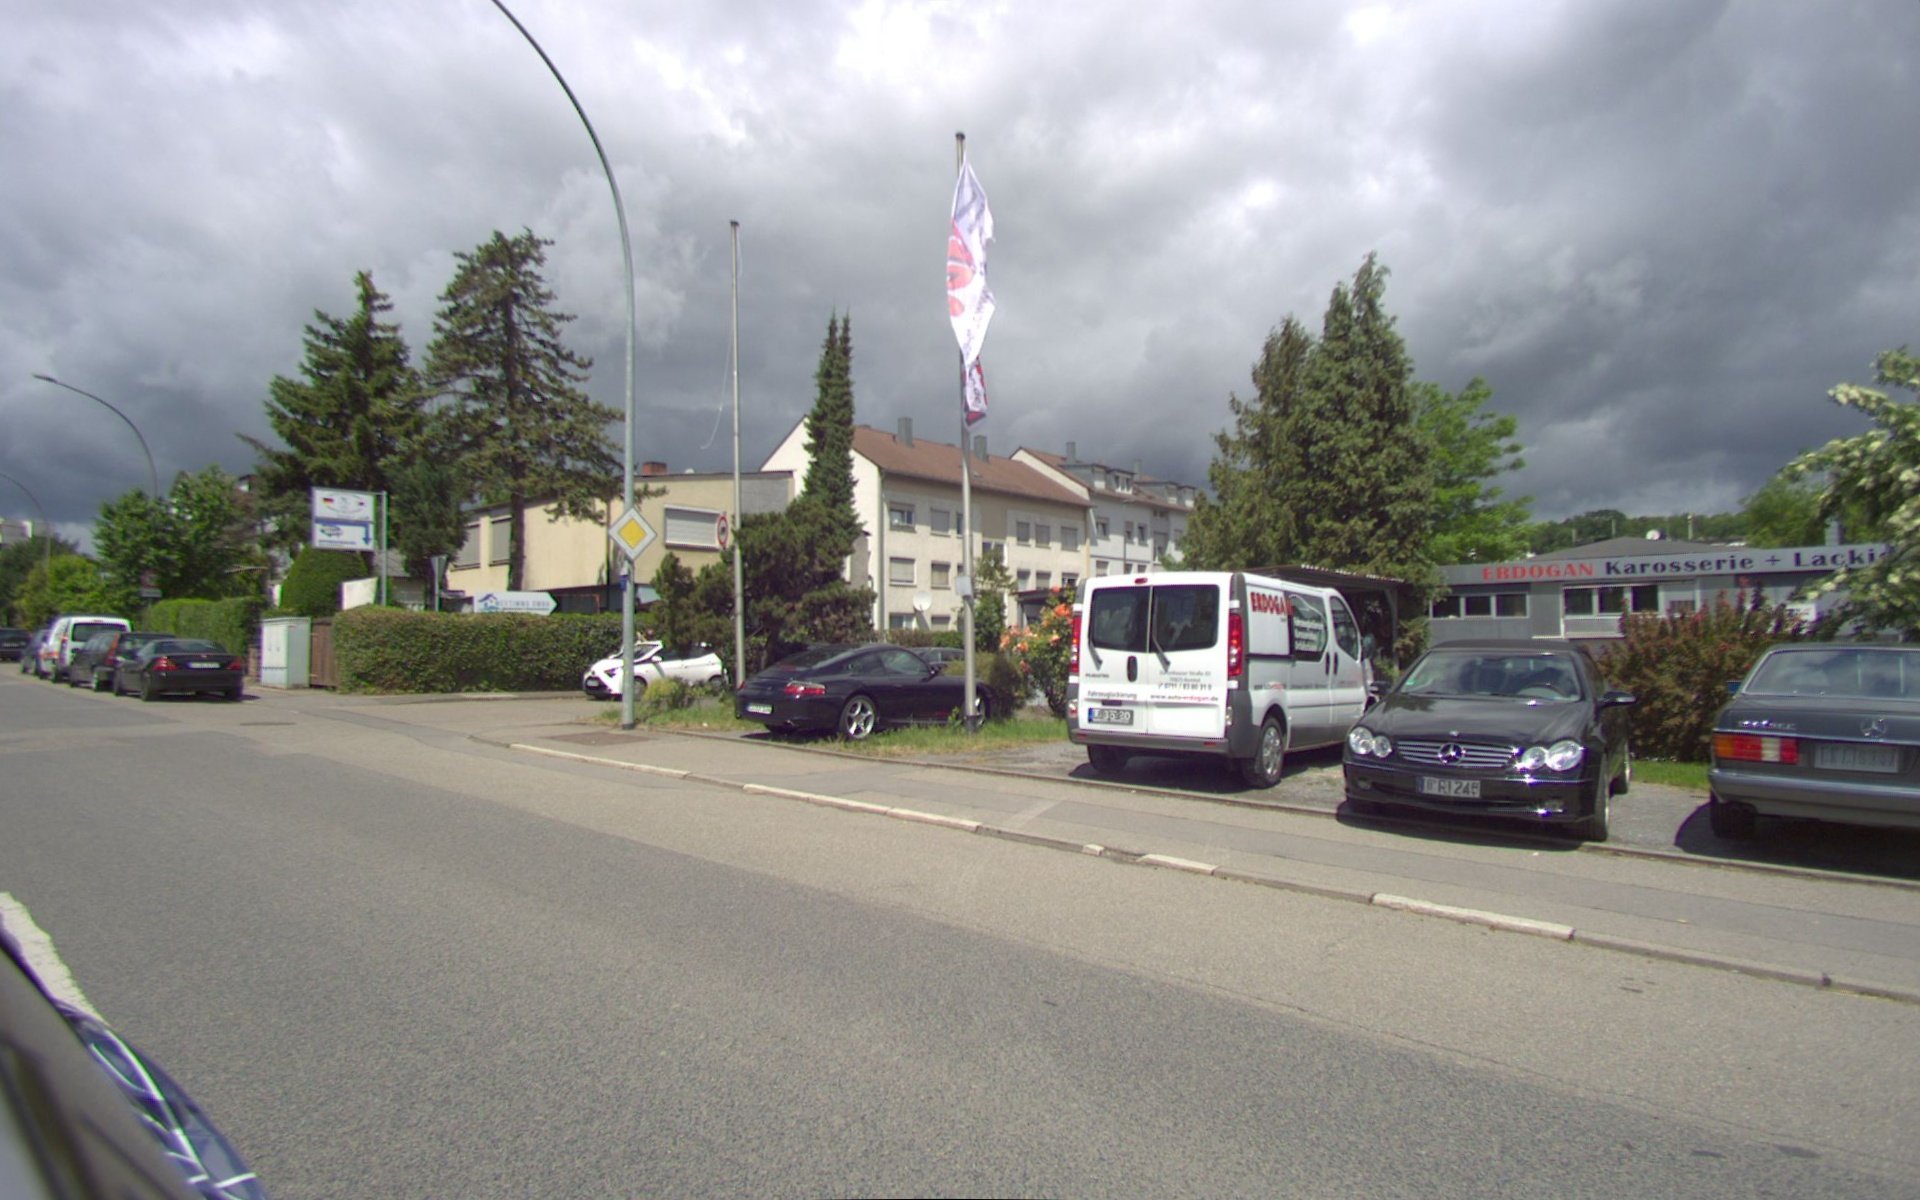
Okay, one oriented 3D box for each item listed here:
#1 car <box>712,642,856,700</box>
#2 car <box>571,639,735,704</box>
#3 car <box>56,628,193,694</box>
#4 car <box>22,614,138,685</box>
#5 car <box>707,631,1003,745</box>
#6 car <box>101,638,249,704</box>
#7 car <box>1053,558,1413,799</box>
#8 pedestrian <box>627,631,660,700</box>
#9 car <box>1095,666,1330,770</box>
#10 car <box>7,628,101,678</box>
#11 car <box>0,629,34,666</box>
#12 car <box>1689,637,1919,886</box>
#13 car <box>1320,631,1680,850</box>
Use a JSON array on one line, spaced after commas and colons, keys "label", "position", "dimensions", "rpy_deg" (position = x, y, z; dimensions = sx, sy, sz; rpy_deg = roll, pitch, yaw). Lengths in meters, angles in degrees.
[{"label": "car", "position": [-4.836, 1.981, 28.141], "dimensions": [1.842, 1.489, 3.631], "rpy_deg": [-2, -5, 38]}, {"label": "car", "position": [-7.518, 1.784, 24.994], "dimensions": [1.613, 1.489, 3.514], "rpy_deg": [-2, -5, 42]}, {"label": "car", "position": [-20.777, 1.507, 25.111], "dimensions": [4.640, 1.483, 1.726], "rpy_deg": [-2, -6, 40]}, {"label": "car", "position": [-25.085, 1.434, 28.805], "dimensions": [4.352, 1.852, 1.726], "rpy_deg": [-2, -6, 40]}, {"label": "car", "position": [-1.335, 1.123, 14.178], "dimensions": [1.870, 1.213, 3.947], "rpy_deg": [-2, -1, 39]}, {"label": "car", "position": [-17.248, 1.542, 22.176], "dimensions": [4.112, 1.314, 1.614], "rpy_deg": [-2, -6, 39]}, {"label": "car", "position": [3.125, 0.745, 10.838], "dimensions": [2.112, 1.987, 4.607], "rpy_deg": [-2, -3, 38]}, {"label": "pedestrian", "position": [-8.190, 1.678, 26.174], "dimensions": [0.621, 1.747, 0.686], "rpy_deg": [3, -3, -28]}, {"label": "car", "position": [5.893, 2.677, 24.015], "dimensions": [5.020, 2.029, 1.973], "rpy_deg": [-2, -1, 40]}, {"label": "car", "position": [-29.376, 1.721, 32.795], "dimensions": [3.997, 1.498, 1.623], "rpy_deg": [-2, -6, 40]}, {"label": "car", "position": [-41.084, 2.038, 43.136], "dimensions": [4.731, 1.504, 1.702], "rpy_deg": [-2, -4, 40]}, {"label": "car", "position": [6.572, 0.943, 7.066], "dimensions": [1.872, 1.366, 3.943], "rpy_deg": [-3, -3, 43]}, {"label": "car", "position": [4.608, 0.940, 8.338], "dimensions": [1.870, 1.325, 3.947], "rpy_deg": [-1, -2, 40]}]
